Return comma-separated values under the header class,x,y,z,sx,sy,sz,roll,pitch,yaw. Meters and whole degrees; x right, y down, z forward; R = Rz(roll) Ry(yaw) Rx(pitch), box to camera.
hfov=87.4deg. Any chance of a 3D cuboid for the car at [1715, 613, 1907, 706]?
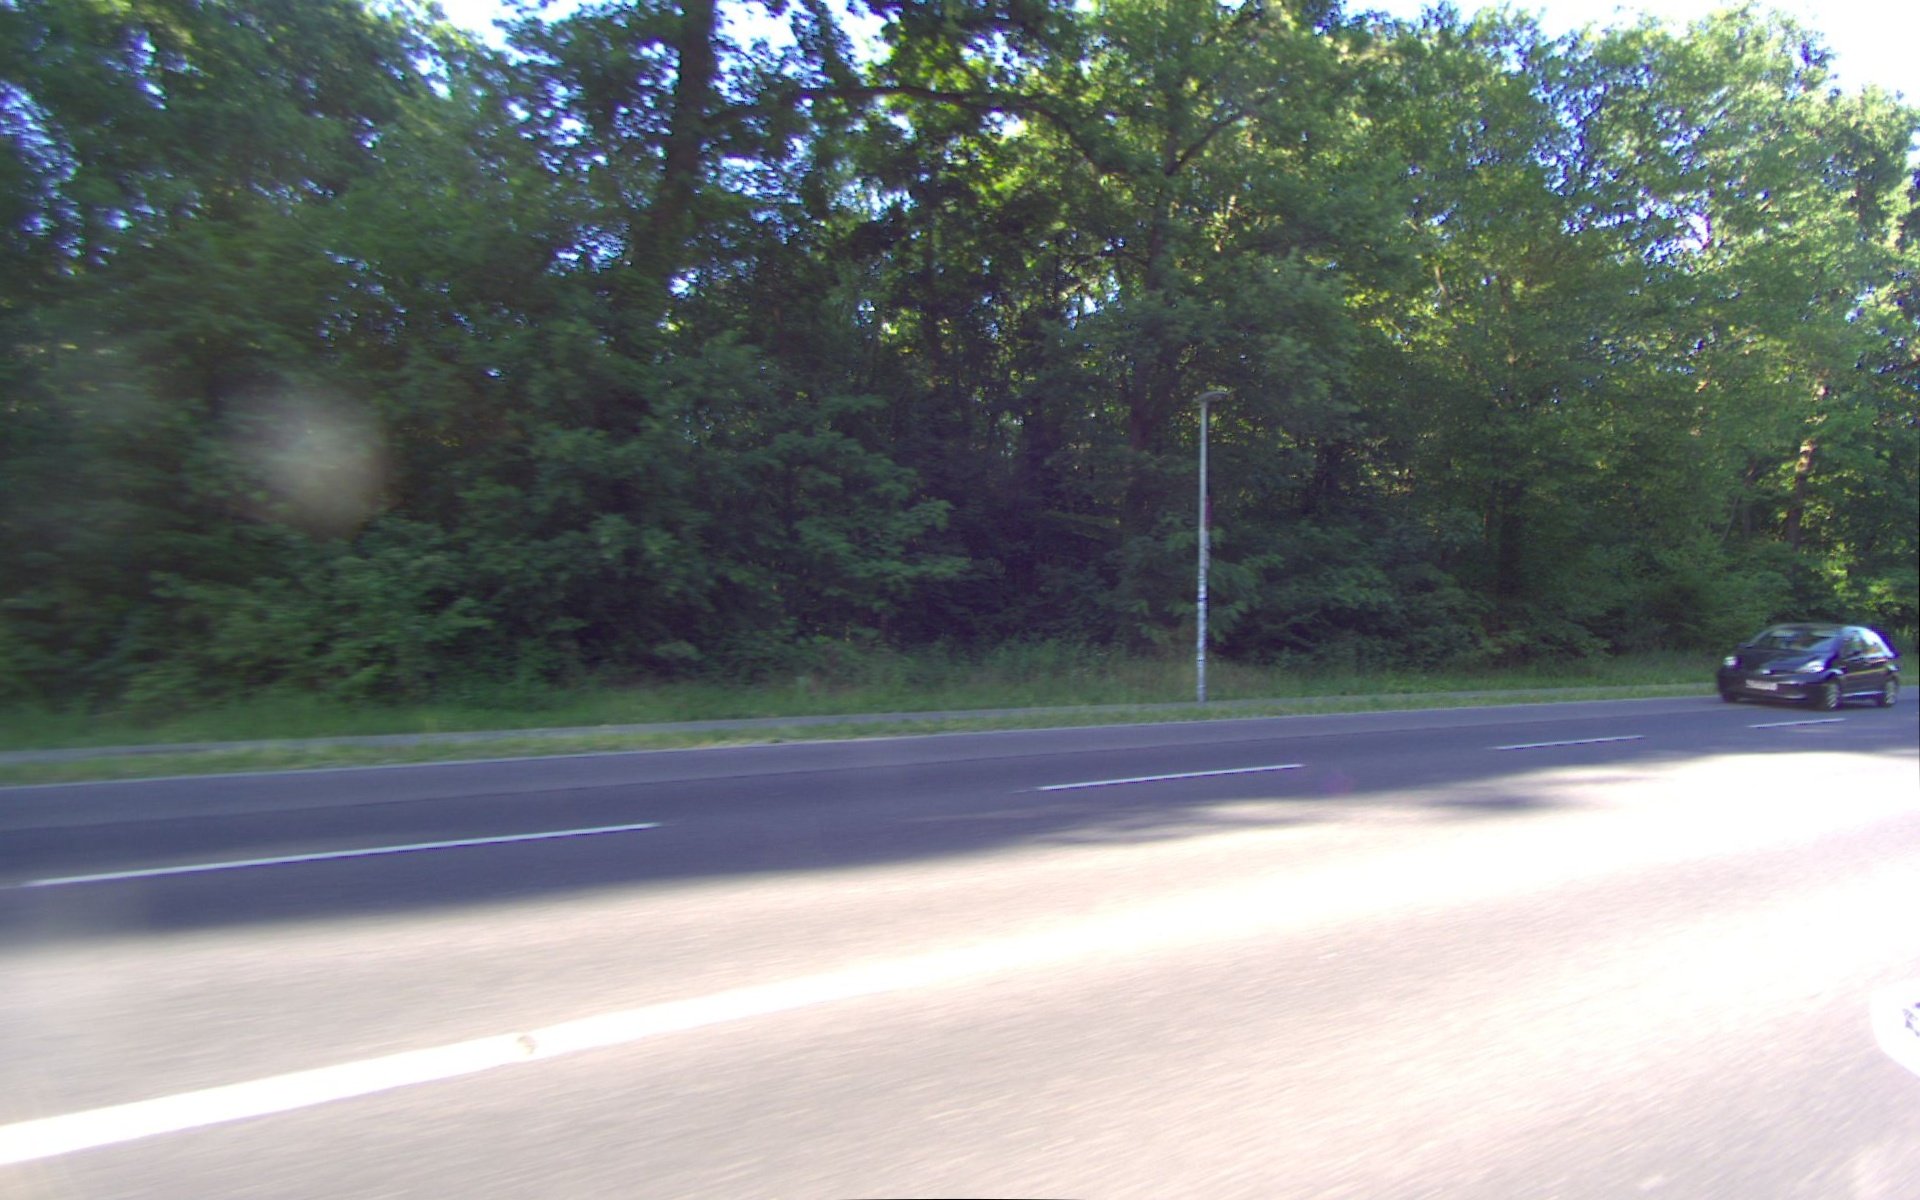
class,x,y,z,sx,sy,sz,roll,pitch,yaw
car,15.179,1.005,17.895,3.458,1.464,1.488,1,1,-29
